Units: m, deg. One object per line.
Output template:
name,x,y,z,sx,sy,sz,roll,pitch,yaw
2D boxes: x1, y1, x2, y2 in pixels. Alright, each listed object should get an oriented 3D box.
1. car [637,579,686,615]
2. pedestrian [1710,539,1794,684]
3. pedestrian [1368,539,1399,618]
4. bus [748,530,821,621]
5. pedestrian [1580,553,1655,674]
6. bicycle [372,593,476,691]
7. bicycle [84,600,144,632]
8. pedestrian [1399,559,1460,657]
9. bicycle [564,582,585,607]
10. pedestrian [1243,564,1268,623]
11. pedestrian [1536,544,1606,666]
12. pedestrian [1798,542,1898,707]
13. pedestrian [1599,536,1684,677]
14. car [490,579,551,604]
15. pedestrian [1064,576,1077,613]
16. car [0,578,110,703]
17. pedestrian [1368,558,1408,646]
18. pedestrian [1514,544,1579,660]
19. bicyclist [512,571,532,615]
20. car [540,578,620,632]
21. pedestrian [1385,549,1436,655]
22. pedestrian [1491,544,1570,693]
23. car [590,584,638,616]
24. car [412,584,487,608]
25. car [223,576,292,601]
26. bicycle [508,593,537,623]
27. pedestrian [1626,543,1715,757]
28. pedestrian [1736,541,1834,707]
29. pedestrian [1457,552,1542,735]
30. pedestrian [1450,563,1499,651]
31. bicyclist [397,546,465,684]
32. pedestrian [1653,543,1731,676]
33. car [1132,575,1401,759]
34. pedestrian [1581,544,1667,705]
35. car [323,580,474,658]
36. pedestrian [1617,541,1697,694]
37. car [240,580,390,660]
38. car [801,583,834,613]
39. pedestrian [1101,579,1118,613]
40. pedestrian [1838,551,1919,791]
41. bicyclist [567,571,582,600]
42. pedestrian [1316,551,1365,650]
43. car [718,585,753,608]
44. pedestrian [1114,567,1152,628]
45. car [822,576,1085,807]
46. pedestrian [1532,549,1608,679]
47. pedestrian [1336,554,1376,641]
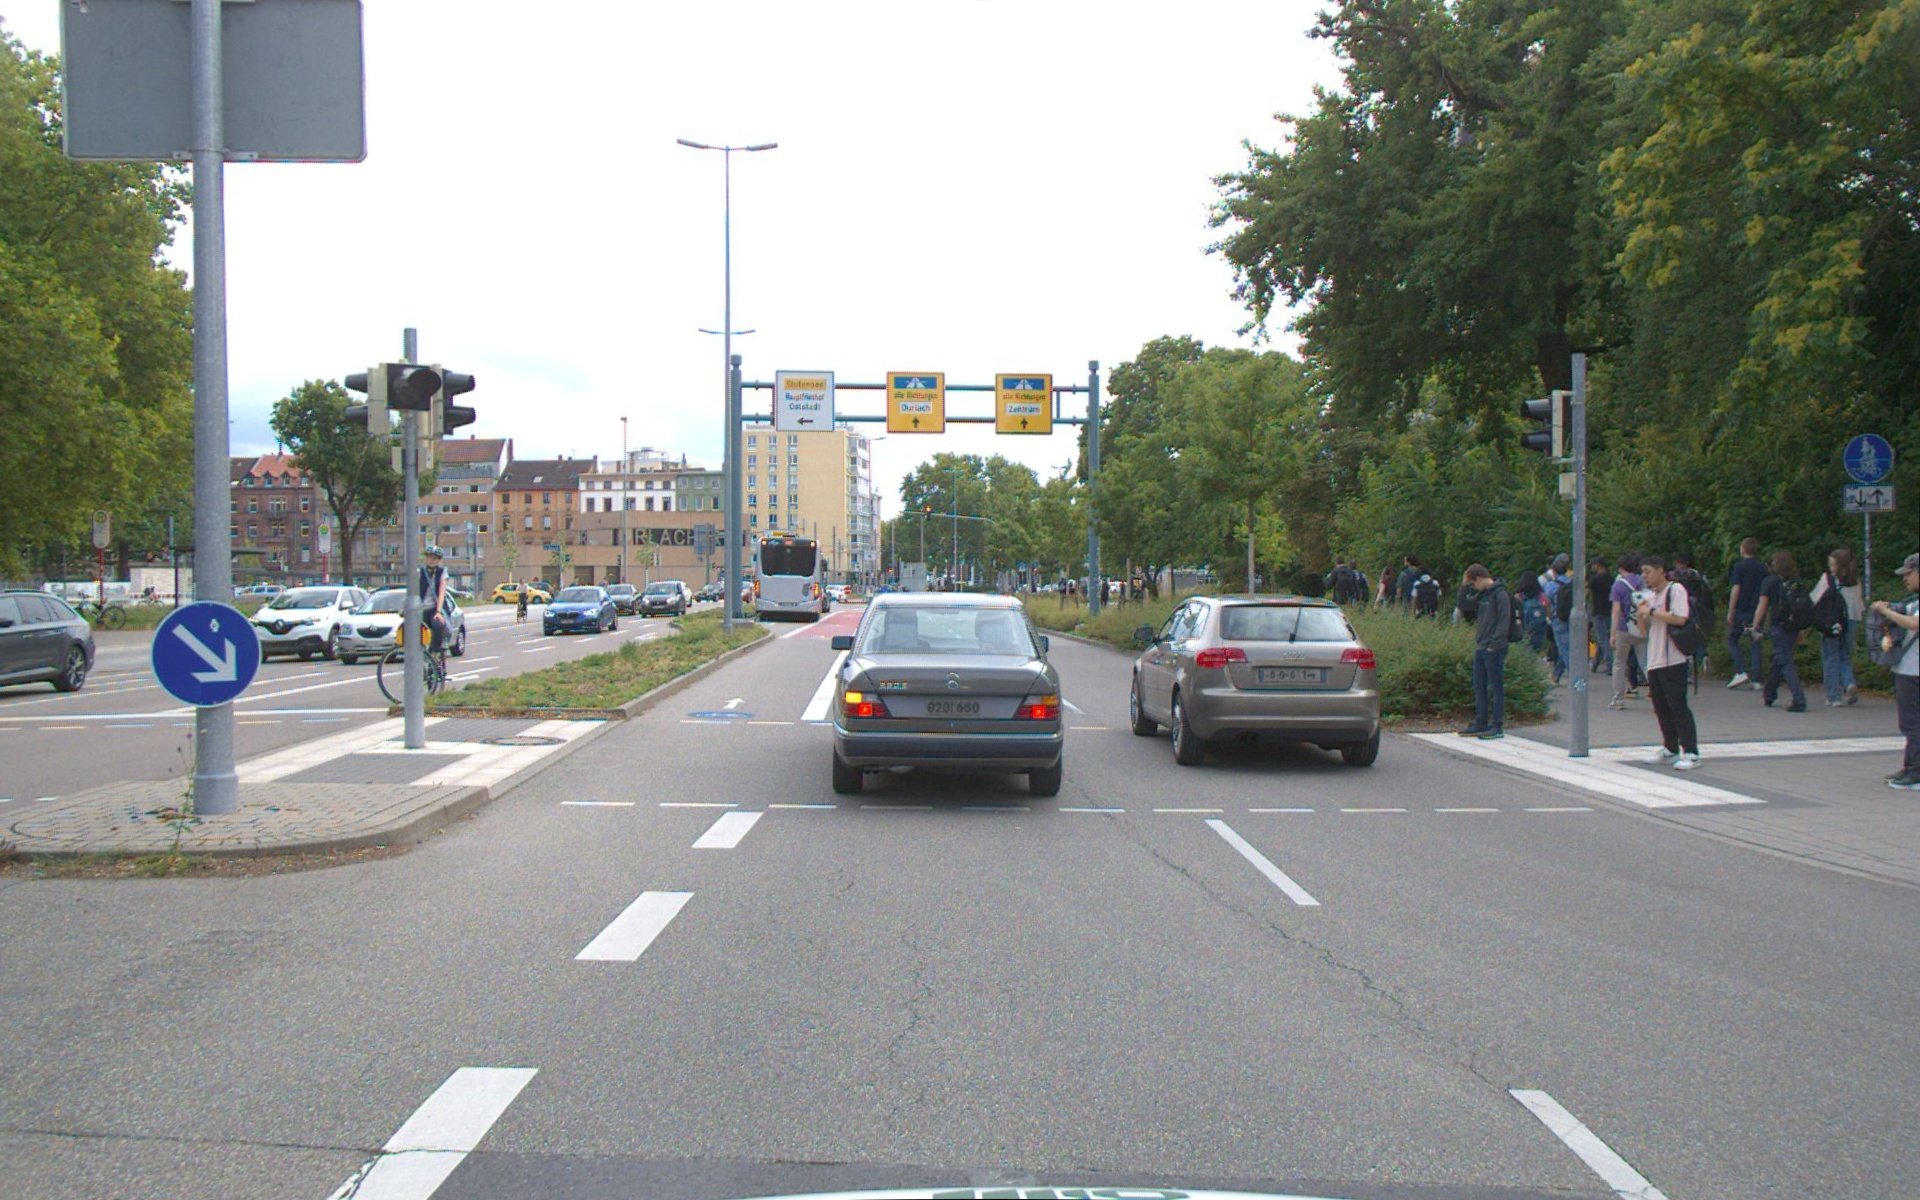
car,-13.048,-0.144,72.451,1.540,1.515,3.635,-1,1,-2
pedestrian,9.920,0.135,20.731,0.644,1.775,0.779,0,0,-5
pedestrian,9.029,-0.461,35.290,0.458,1.662,0.652,0,0,-3
bus,-7.058,-0.982,67.400,2.776,3.449,8.174,0,1,-5
pedestrian,9.466,0.182,23.835,0.644,1.696,0.970,0,0,-5
bicycle,-6.216,0.458,19.283,0.561,1.074,1.926,0,1,1
bicycle,-25.315,0.472,49.538,0.460,0.935,2.340,0,0,4
pedestrian,7.949,0.134,28.023,0.760,1.630,0.812,0,0,-3
bicycle,-18.891,-0.285,81.041,0.570,1.191,1.964,0,1,-1
pedestrian,8.640,-0.204,48.364,0.575,1.712,0.748,0,0,-3
pedestrian,8.773,0.066,23.759,0.644,1.719,0.841,0,0,-5
pedestrian,9.756,0.261,18.196,0.644,1.775,0.779,0,0,-5
pedestrian,8.968,0.078,21.806,0.644,1.797,0.957,-1,0,-5
car,-29.681,-0.575,111.778,3.784,1.544,1.657,1,0,-8
pedestrian,6.129,-0.312,91.696,0.602,2.049,0.597,0,0,-5
car,-13.616,0.526,22.633,1.860,1.644,4.739,0,1,-5
pedestrian,8.287,0.032,32.016,0.544,1.684,0.753,0,0,-3
pedestrian,9.189,0.024,25.940,0.707,1.775,0.812,0,0,-3
bicyclist,-18.181,-0.310,68.663,0.605,1.813,0.811,0,0,1
car,-11.792,0.137,51.532,1.766,1.537,4.101,0,2,-4
pedestrian,8.009,0.032,29.433,0.643,1.853,0.812,0,0,-3
pedestrian,6.937,0.216,20.140,0.644,1.775,0.779,0,0,-5
car,-15.715,-0.008,75.167,1.472,1.389,3.831,0,1,-2
car,-34.297,-0.268,111.169,4.582,1.501,1.657,1,0,-8
car,-48.518,-0.827,114.341,4.077,1.678,1.643,-1,0,-9
bicycle,-18.174,0.323,68.680,0.605,1.238,2.045,0,1,2
pedestrian,5.980,0.407,13.934,0.445,1.765,0.636,0,0,-5
pedestrian,9.012,0.249,18.092,0.644,1.775,0.779,0,0,-5
pedestrian,5.314,0.415,16.318,0.589,1.765,0.654,0,0,-6
pedestrian,9.507,0.127,30.568,0.623,1.611,0.785,0,0,-3
bicyclist,-6.212,0.169,19.433,0.560,1.601,0.699,0,0,1
pedestrian,9.659,0.119,21.857,0.644,1.729,0.779,0,0,-5
car,2.685,0.523,15.275,1.689,1.483,3.735,0,1,-2
pedestrian,7.489,0.264,18.674,0.612,1.775,0.779,0,0,-5
car,-11.501,0.341,34.176,1.765,1.515,4.287,0,1,-2
pedestrian,8.262,0.203,19.630,0.570,1.775,0.789,0,0,-5
car,-14.333,0.399,37.017,1.827,1.681,4.419,0,0,-3
car,-7.442,-0.100,86.185,1.623,1.421,3.855,0,-2,-6
pedestrian,7.731,-0.211,85.516,0.784,1.743,0.765,0,0,10
pedestrian,6.927,0.507,12.201,0.535,1.716,0.636,0,0,-6
bicyclist,-18.876,-0.709,80.996,0.568,1.443,0.811,0,0,-2
pedestrian,7.278,0.001,31.662,0.679,1.853,0.954,0,0,-3
car,-15.281,-0.262,112.584,1.764,1.515,4.289,0,1,0
pedestrian,5.276,-0.081,50.435,0.915,1.862,0.886,0,0,24
car,-0.060,0.576,12.949,1.725,1.515,4.171,0,1,-1
pedestrian,8.001,0.175,21.723,0.644,1.677,0.811,0,0,-5
pedestrian,8.213,-0.054,34.328,0.606,1.766,0.814,0,0,-3
